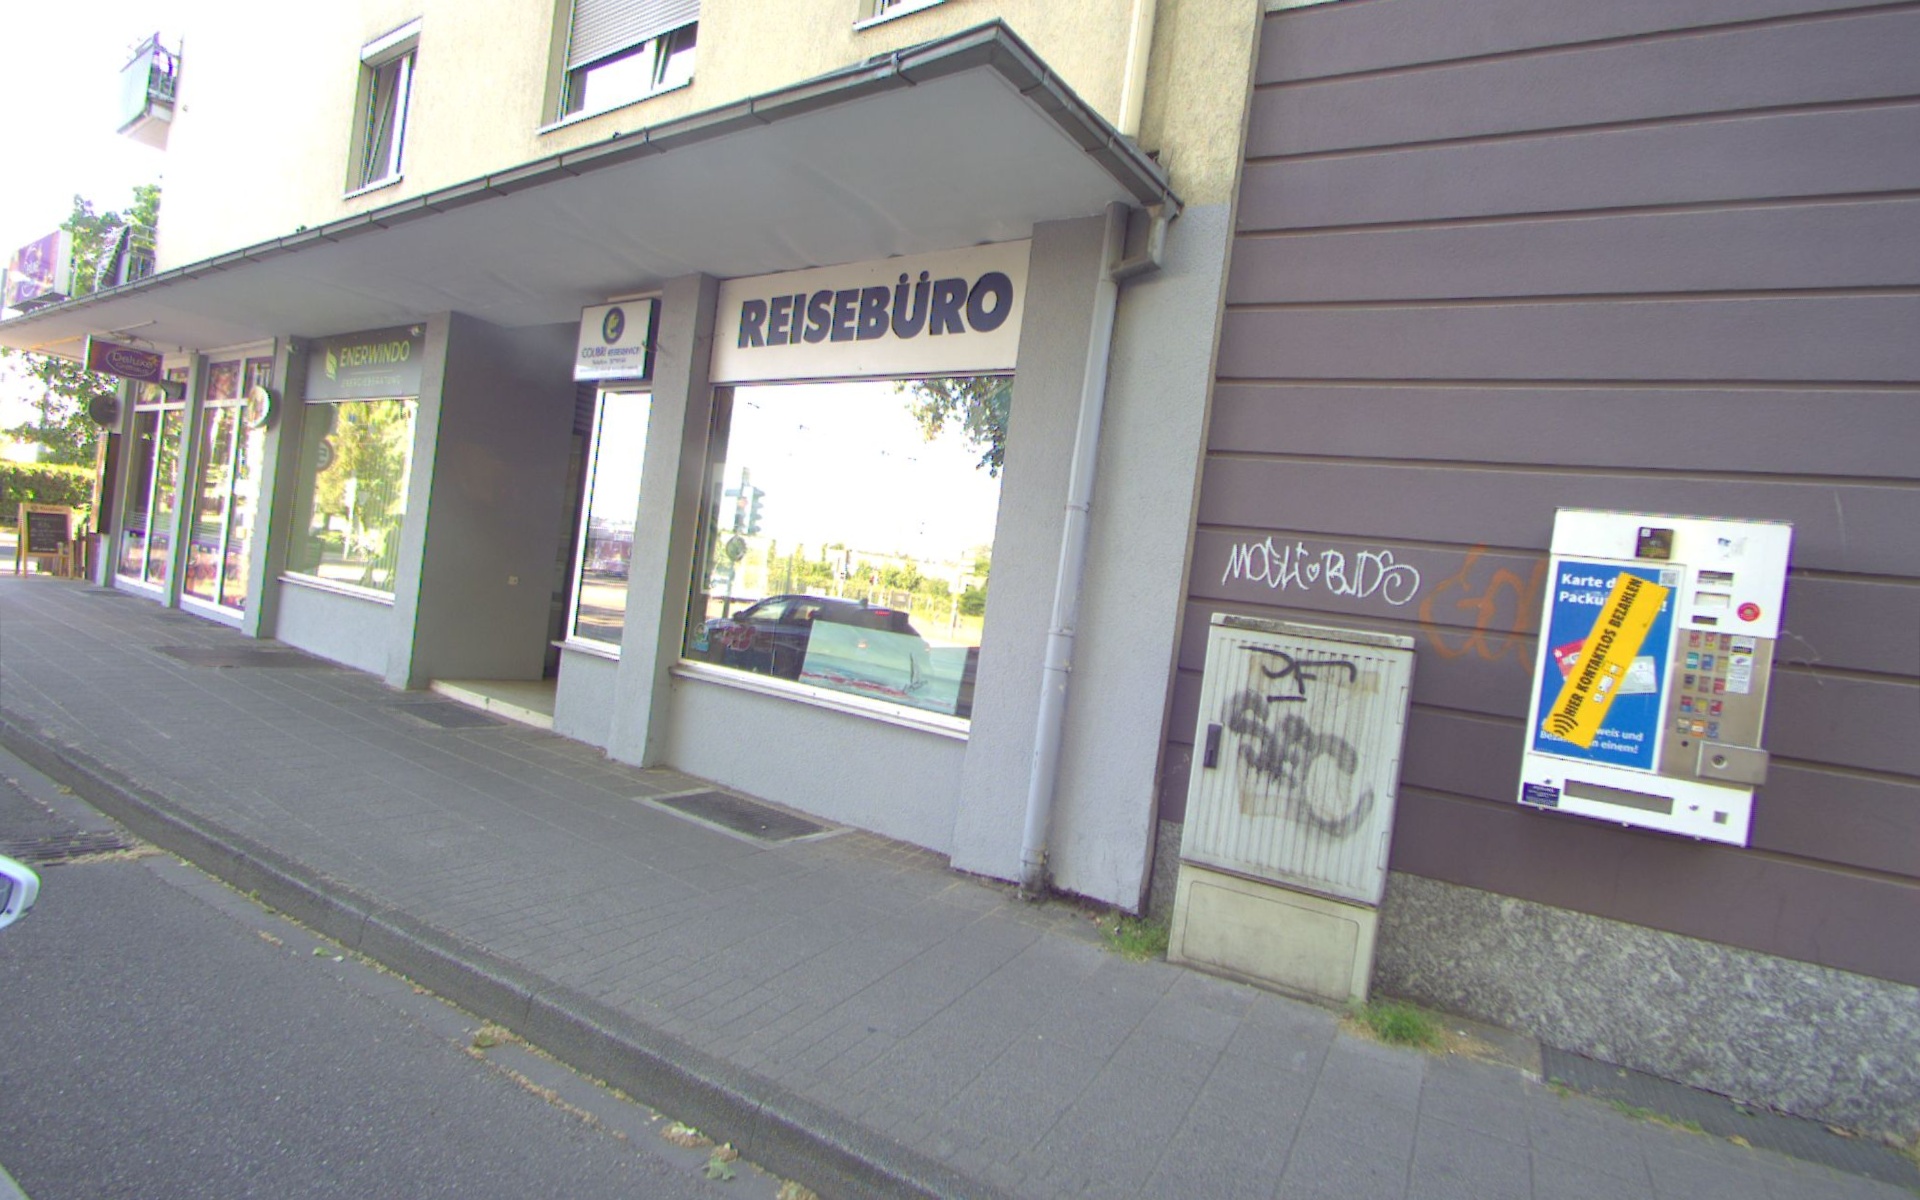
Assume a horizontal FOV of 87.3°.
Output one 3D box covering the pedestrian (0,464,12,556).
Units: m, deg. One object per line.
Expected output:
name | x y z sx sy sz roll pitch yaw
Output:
pedestrian | -18.955 -1.747 19.475 0.630 1.841 0.738 8 -1 -38
